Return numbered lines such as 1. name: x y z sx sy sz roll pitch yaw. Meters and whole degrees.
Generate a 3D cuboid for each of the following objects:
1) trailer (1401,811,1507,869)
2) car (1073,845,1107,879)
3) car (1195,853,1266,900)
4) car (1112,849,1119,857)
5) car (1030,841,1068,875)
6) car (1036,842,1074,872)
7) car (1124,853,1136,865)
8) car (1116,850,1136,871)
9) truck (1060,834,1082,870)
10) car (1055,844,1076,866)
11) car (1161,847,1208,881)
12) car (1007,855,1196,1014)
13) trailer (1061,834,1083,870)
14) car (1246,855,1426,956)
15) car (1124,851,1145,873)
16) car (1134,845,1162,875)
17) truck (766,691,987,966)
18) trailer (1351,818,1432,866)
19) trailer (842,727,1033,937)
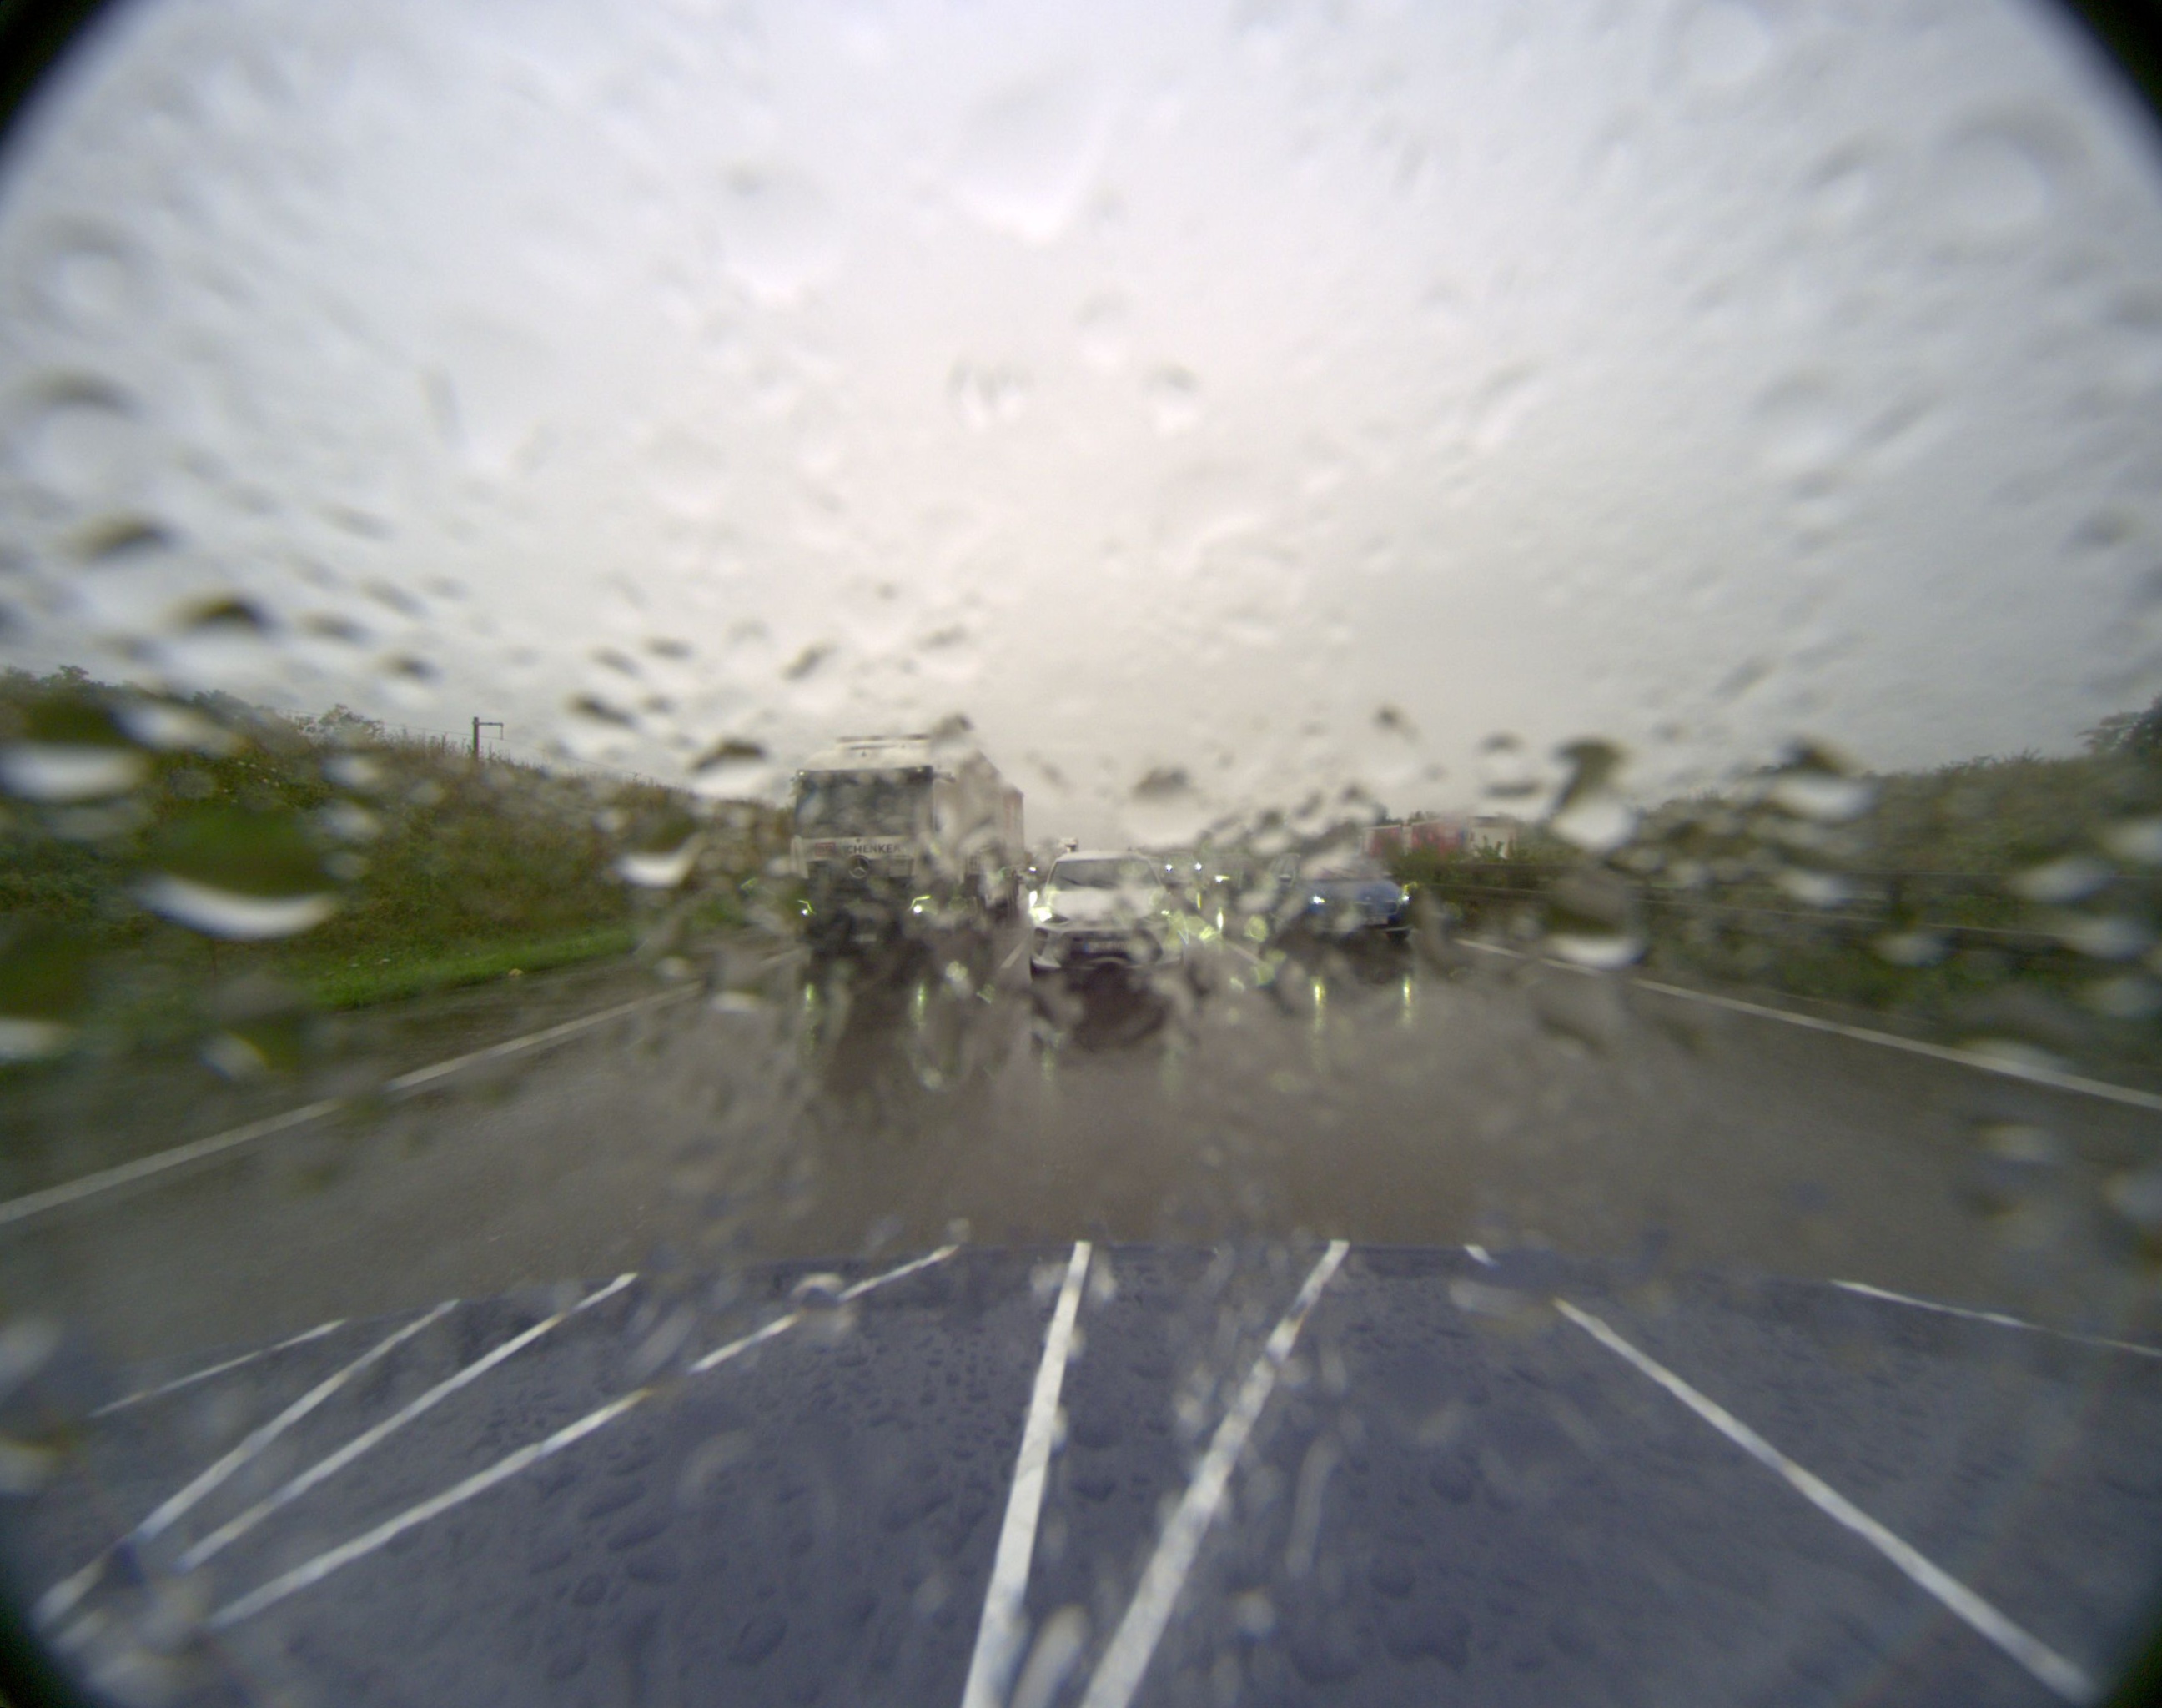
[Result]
1. trailer: 21.863 -0.757 45.123 1.998 3.064 8.871 -2 0 1
2. car: 0.604 0.481 48.371 1.998 2.002 4.000 -2 0 2
3. car: 5.071 0.708 26.292 1.613 1.428 4.370 -2 0 1
4. car: 7.678 -0.203 168.903 1.279 1.567 2.848 -2 0 0
5. car: -1.970 0.234 48.253 1.946 2.002 4.446 -2 1 3
6. car: -1.820 0.194 54.781 2.260 2.002 4.269 -2 1 4
7. car: 6.404 0.651 100.363 1.458 1.540 2.804 0 2 1
8. car: 4.591 0.666 78.055 1.737 2.002 4.223 -2 0 1
9. truck: -1.300 -0.248 99.702 2.628 4.635 4.290 -2 0 1
10. car: -1.577 0.103 78.755 1.998 2.231 4.000 -2 0 1
11. car: 5.375 0.501 39.795 1.888 1.622 4.269 -2 0 1
12. car: 0.239 0.832 9.778 1.893 1.578 4.000 -2 0 1
13. trailer: -1.188 -0.229 104.986 2.628 4.635 9.221 -2 0 1
14. car: 4.369 0.793 13.801 1.790 1.467 4.512 -2 0 1
15. car: 5.031 0.717 72.290 1.737 2.002 4.223 -2 0 1
16. car: 4.694 0.413 53.812 1.888 2.002 4.270 -2 0 4
17. truck: -3.518 -0.427 14.456 2.633 4.229 5.042 -2 1 0
18. trailer: 21.992 -0.804 54.421 1.998 3.064 9.554 -2 0 1
19. trailer: -3.394 -0.537 22.697 2.633 4.224 14.175 -2 1 1
